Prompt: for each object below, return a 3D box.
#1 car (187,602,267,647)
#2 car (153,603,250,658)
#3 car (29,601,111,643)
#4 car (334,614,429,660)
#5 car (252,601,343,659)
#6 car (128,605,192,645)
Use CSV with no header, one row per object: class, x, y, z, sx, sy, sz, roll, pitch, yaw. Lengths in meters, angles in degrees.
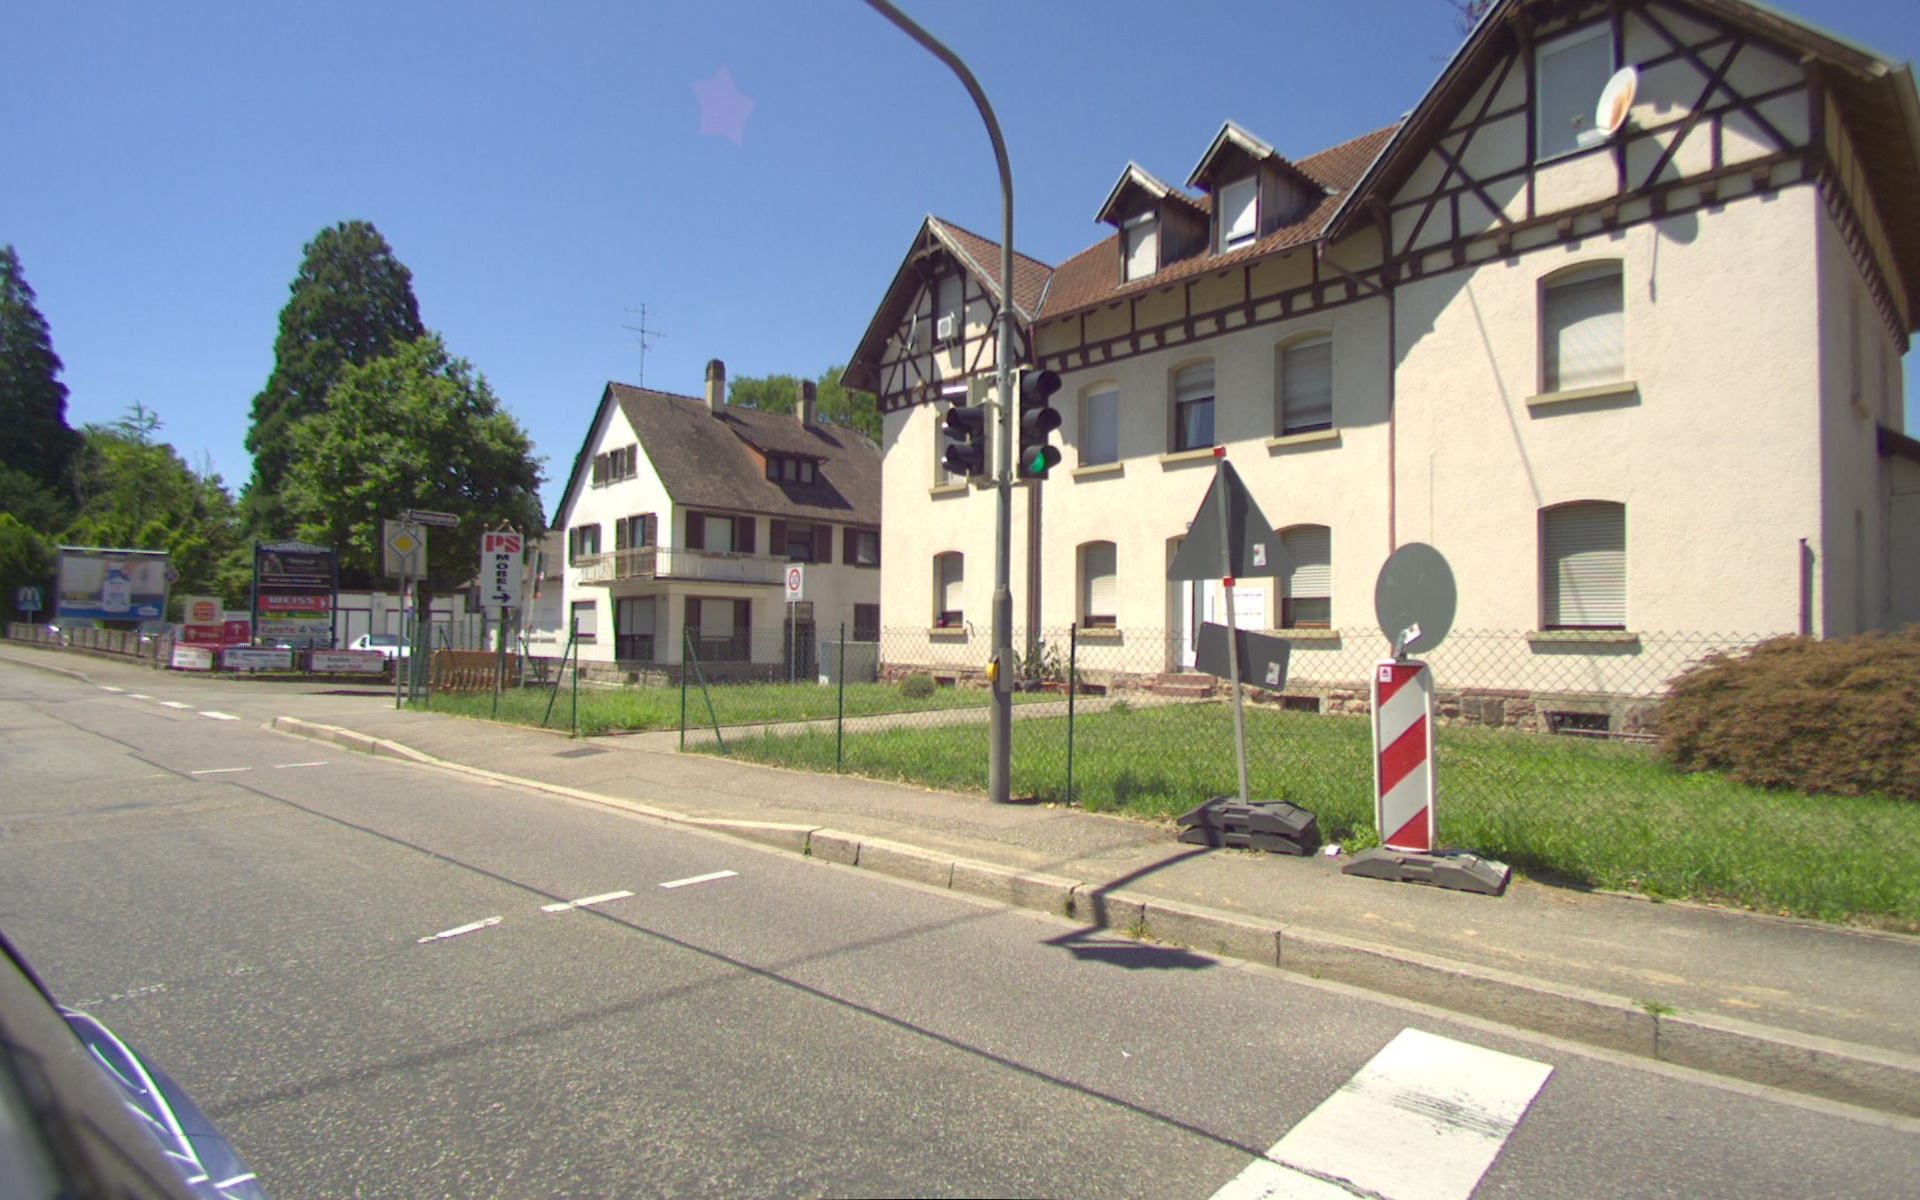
car,-32.034,1.051,44.219,3.996,1.755,1.776,1,-2,39
car,-22.991,0.917,30.622,1.773,1.530,4.003,4,-3,-44
car,-36.144,0.874,41.068,3.996,1.529,1.776,1,-2,39
car,-19.440,1.223,33.947,1.773,1.445,4.003,4,-3,-44
car,-21.414,0.953,32.617,1.772,1.691,4.631,4,-3,-41
car,-34.203,1.030,43.240,1.772,1.529,4.005,4,-2,-42
